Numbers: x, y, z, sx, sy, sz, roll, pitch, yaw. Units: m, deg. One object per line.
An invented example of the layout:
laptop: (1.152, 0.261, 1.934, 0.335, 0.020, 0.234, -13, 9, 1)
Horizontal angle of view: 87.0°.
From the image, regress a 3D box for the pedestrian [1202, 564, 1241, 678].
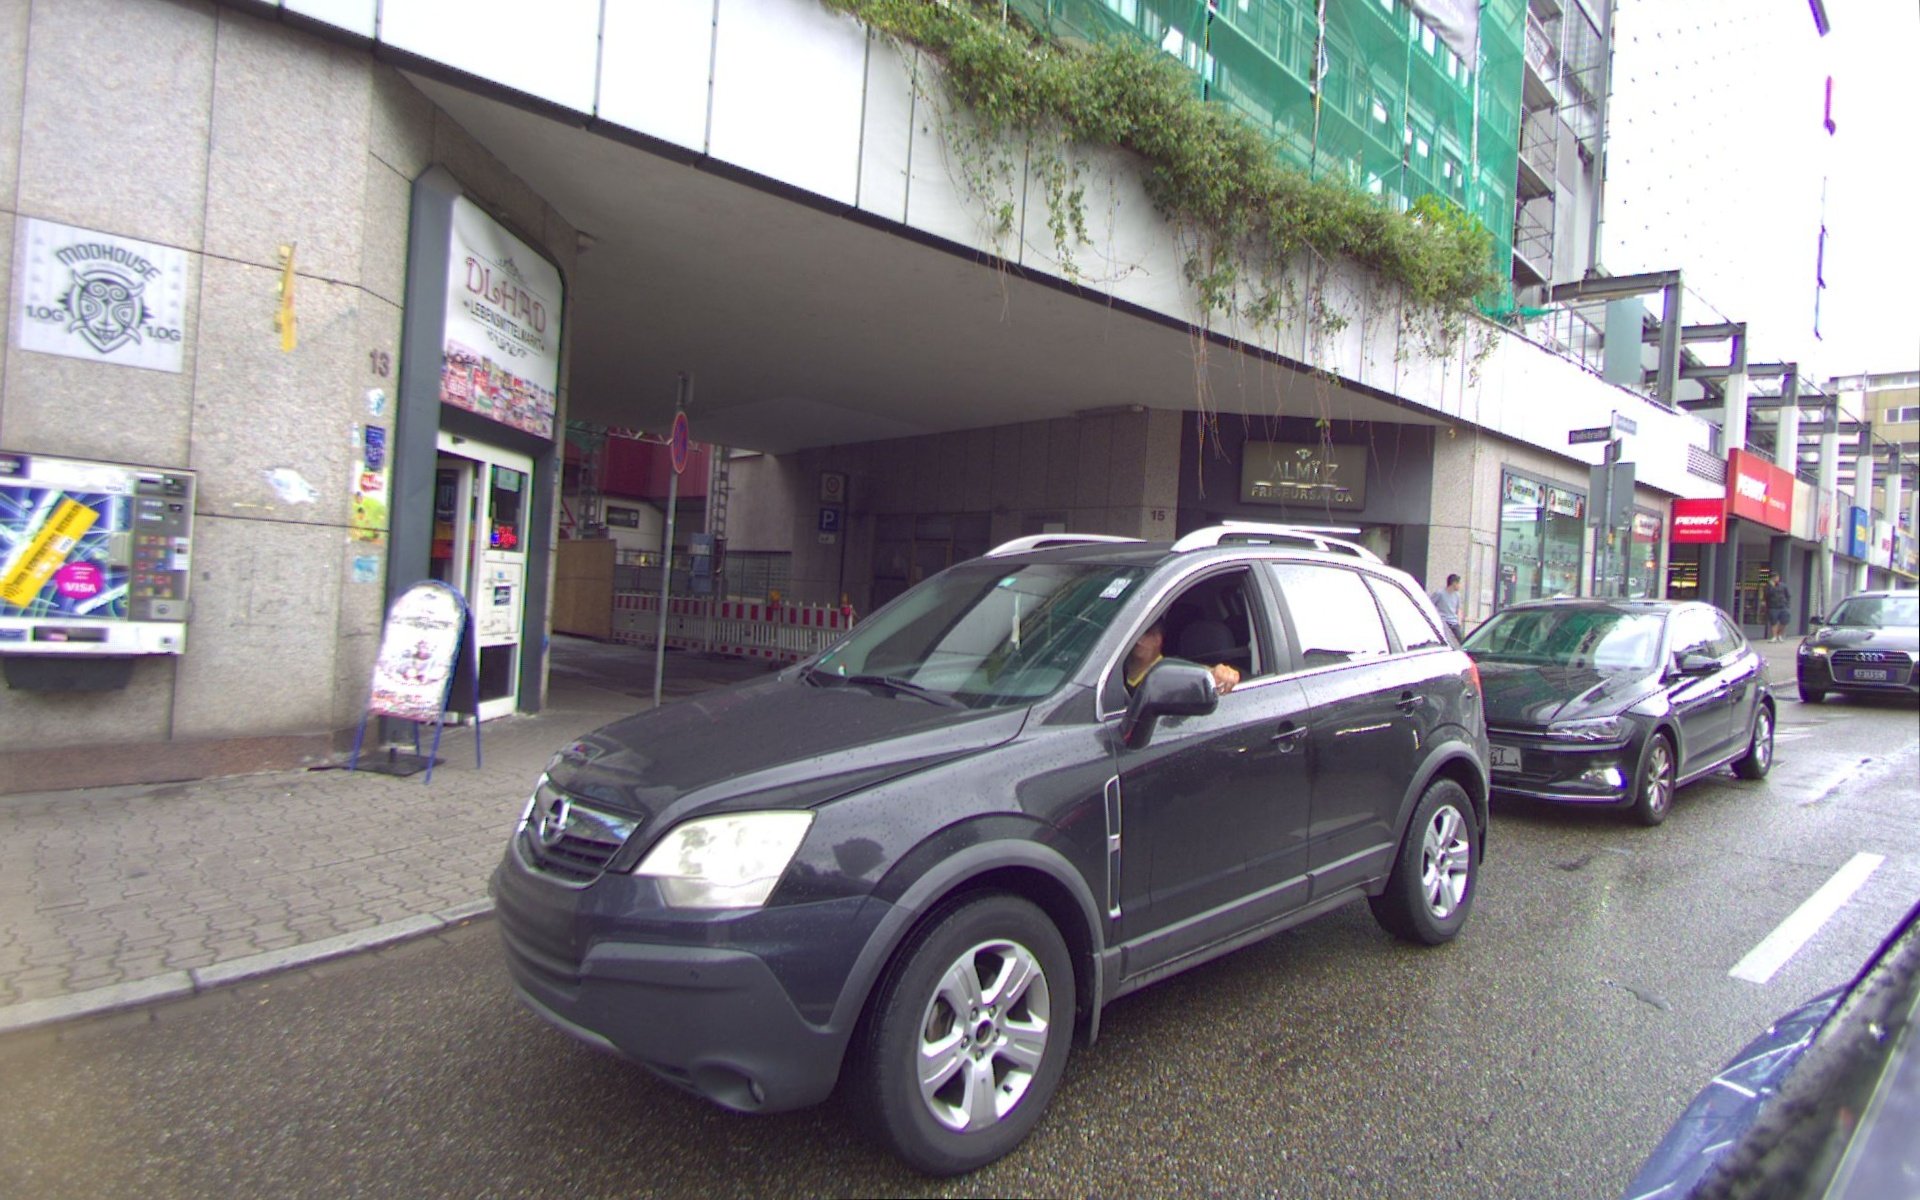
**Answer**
pedestrian: (4.022, 0.317, 15.599, 0.474, 1.729, 0.467, 0, 0, 1)

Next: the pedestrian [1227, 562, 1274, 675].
pedestrian: (4.231, 0.260, 14.737, 0.630, 1.615, 0.574, 0, 1, 17)

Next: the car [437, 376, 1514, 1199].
car: (0.406, 0.469, 3.986, 4.089, 1.788, 1.763, 1, 0, -40)

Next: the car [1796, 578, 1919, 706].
car: (13.540, 0.513, 14.362, 4.089, 1.628, 1.841, -1, 1, -39)

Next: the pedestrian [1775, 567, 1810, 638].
pedestrian: (20.312, 0.043, 24.692, 0.570, 1.699, 0.509, -1, 3, -42)

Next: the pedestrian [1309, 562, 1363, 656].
pedestrian: (6.794, 0.139, 18.315, 0.568, 1.647, 0.677, -1, 3, -34)

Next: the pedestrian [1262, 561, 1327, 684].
pedestrian: (5.206, 0.328, 15.790, 0.730, 1.838, 0.773, 2, 2, 3)

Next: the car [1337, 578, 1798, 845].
car: (4.799, 0.654, 7.763, 4.088, 1.523, 1.759, 1, 0, -39)

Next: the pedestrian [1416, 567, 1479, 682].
pedestrian: (7.314, 0.343, 15.179, 0.721, 1.663, 0.637, -1, 1, -44)
